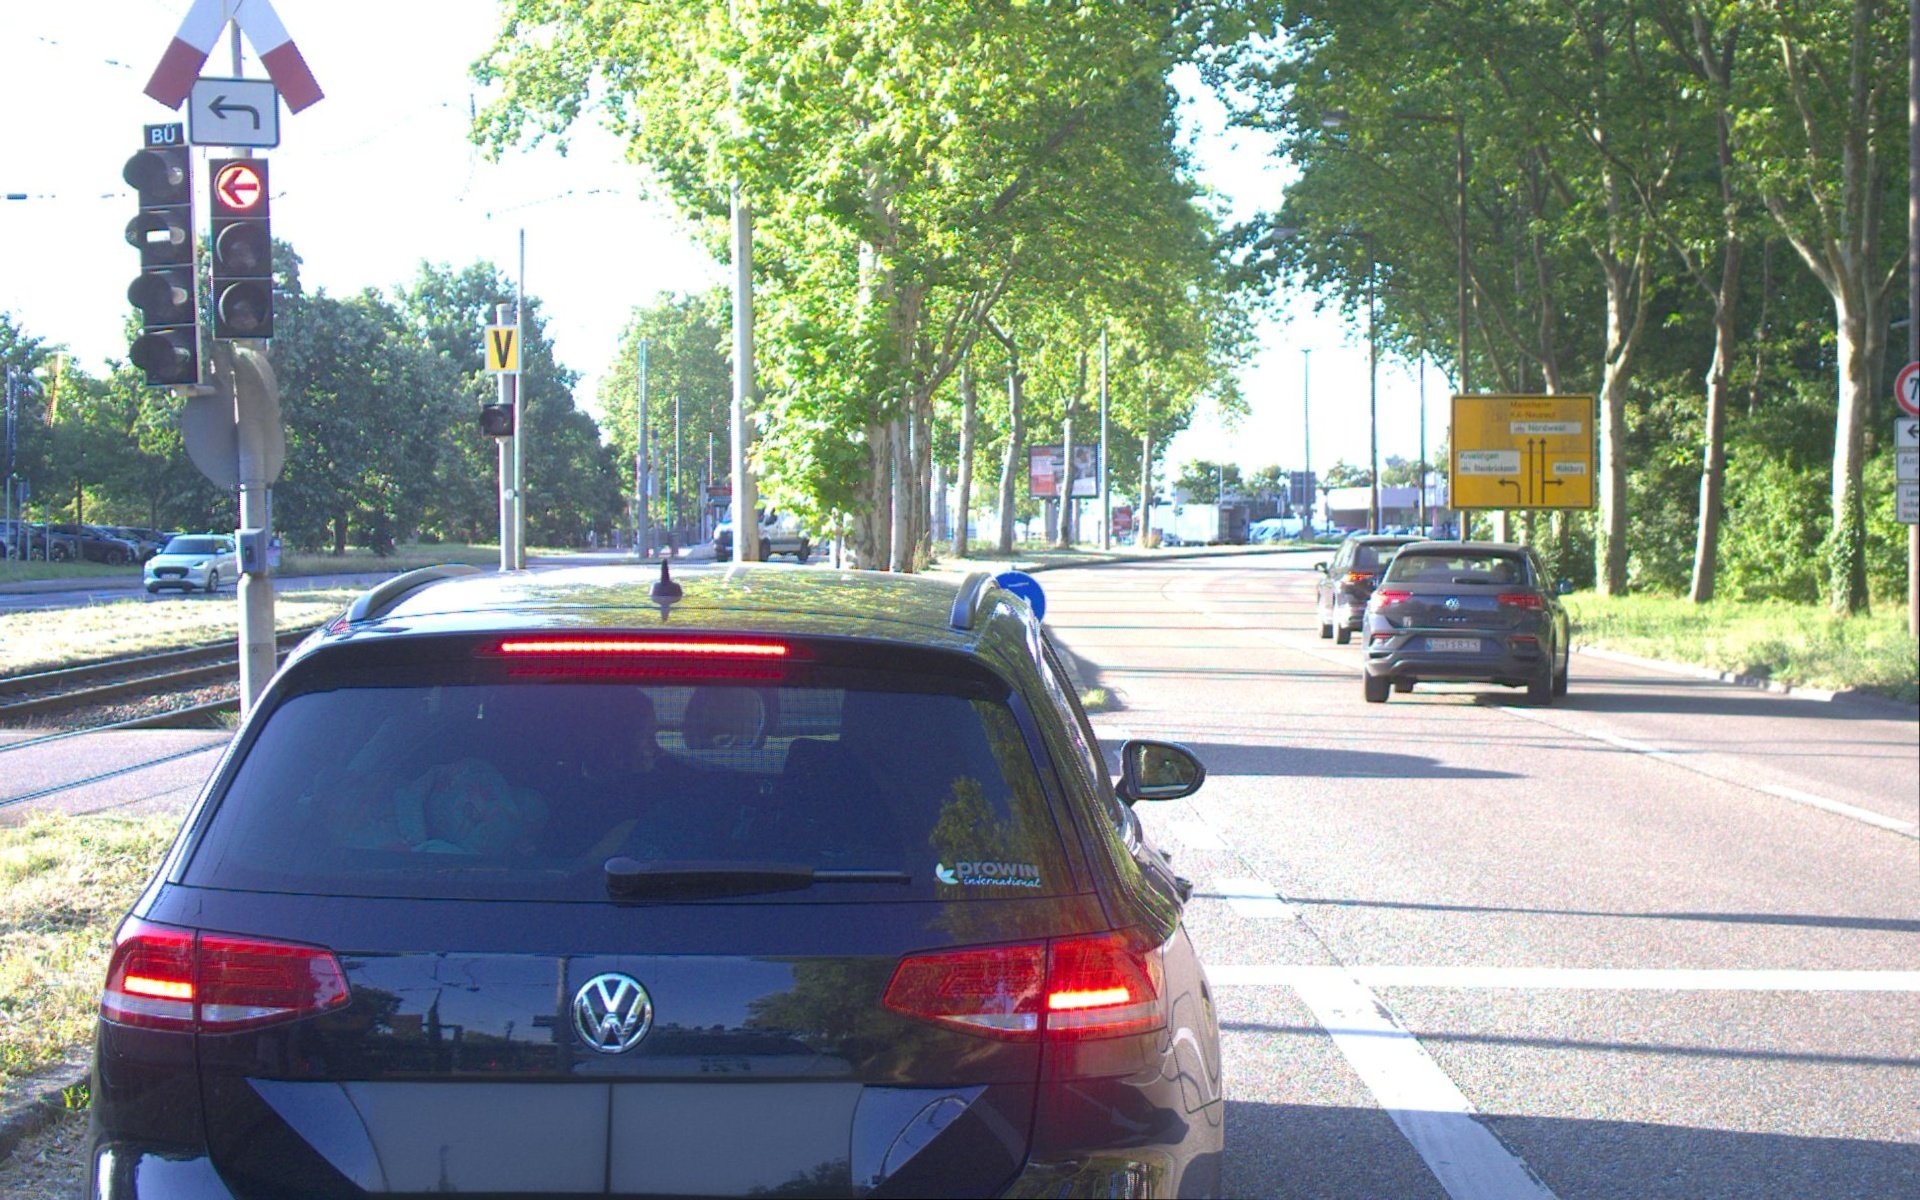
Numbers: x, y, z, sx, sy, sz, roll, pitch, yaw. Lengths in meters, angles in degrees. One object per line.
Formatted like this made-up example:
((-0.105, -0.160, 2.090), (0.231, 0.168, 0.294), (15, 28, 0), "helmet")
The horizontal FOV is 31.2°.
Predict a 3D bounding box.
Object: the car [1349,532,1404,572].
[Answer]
((24.420, -2.831, 201.404), (2.097, 2.313, 5.847), (1, 1, 18), "car")

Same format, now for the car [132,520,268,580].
((-19.629, -1.304, 88.917), (1.863, 1.476, 4.089), (1, 1, 13), "car")

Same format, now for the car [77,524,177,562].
((-36.107, -2.465, 149.088), (3.986, 1.615, 1.744), (1, 1, -5), "car")

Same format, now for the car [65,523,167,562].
((-35.815, -2.447, 145.925), (3.986, 1.615, 1.744), (1, 1, -5), "car")

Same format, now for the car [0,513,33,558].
((-35.908, -2.355, 125.020), (3.986, 1.615, 1.744), (1, 1, -5), "car")

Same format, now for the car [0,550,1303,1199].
((-0.476, 0.654, 6.428), (1.795, 1.459, 3.583), (1, 1, -1), "car")

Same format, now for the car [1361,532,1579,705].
((5.033, 0.133, 33.529), (1.708, 1.555, 4.164), (1, 1, 14), "car")

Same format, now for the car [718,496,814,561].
((-7.537, -2.784, 134.224), (2.096, 2.453, 5.849), (1, 1, 14), "car")

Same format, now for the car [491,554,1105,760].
((-1.081, 0.356, 23.770), (3.970, 1.290, 1.614), (0, 1, -34), "car")

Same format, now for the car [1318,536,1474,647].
((6.622, -0.154, 52.591), (1.872, 1.629, 4.370), (0, 1, 1), "car")
